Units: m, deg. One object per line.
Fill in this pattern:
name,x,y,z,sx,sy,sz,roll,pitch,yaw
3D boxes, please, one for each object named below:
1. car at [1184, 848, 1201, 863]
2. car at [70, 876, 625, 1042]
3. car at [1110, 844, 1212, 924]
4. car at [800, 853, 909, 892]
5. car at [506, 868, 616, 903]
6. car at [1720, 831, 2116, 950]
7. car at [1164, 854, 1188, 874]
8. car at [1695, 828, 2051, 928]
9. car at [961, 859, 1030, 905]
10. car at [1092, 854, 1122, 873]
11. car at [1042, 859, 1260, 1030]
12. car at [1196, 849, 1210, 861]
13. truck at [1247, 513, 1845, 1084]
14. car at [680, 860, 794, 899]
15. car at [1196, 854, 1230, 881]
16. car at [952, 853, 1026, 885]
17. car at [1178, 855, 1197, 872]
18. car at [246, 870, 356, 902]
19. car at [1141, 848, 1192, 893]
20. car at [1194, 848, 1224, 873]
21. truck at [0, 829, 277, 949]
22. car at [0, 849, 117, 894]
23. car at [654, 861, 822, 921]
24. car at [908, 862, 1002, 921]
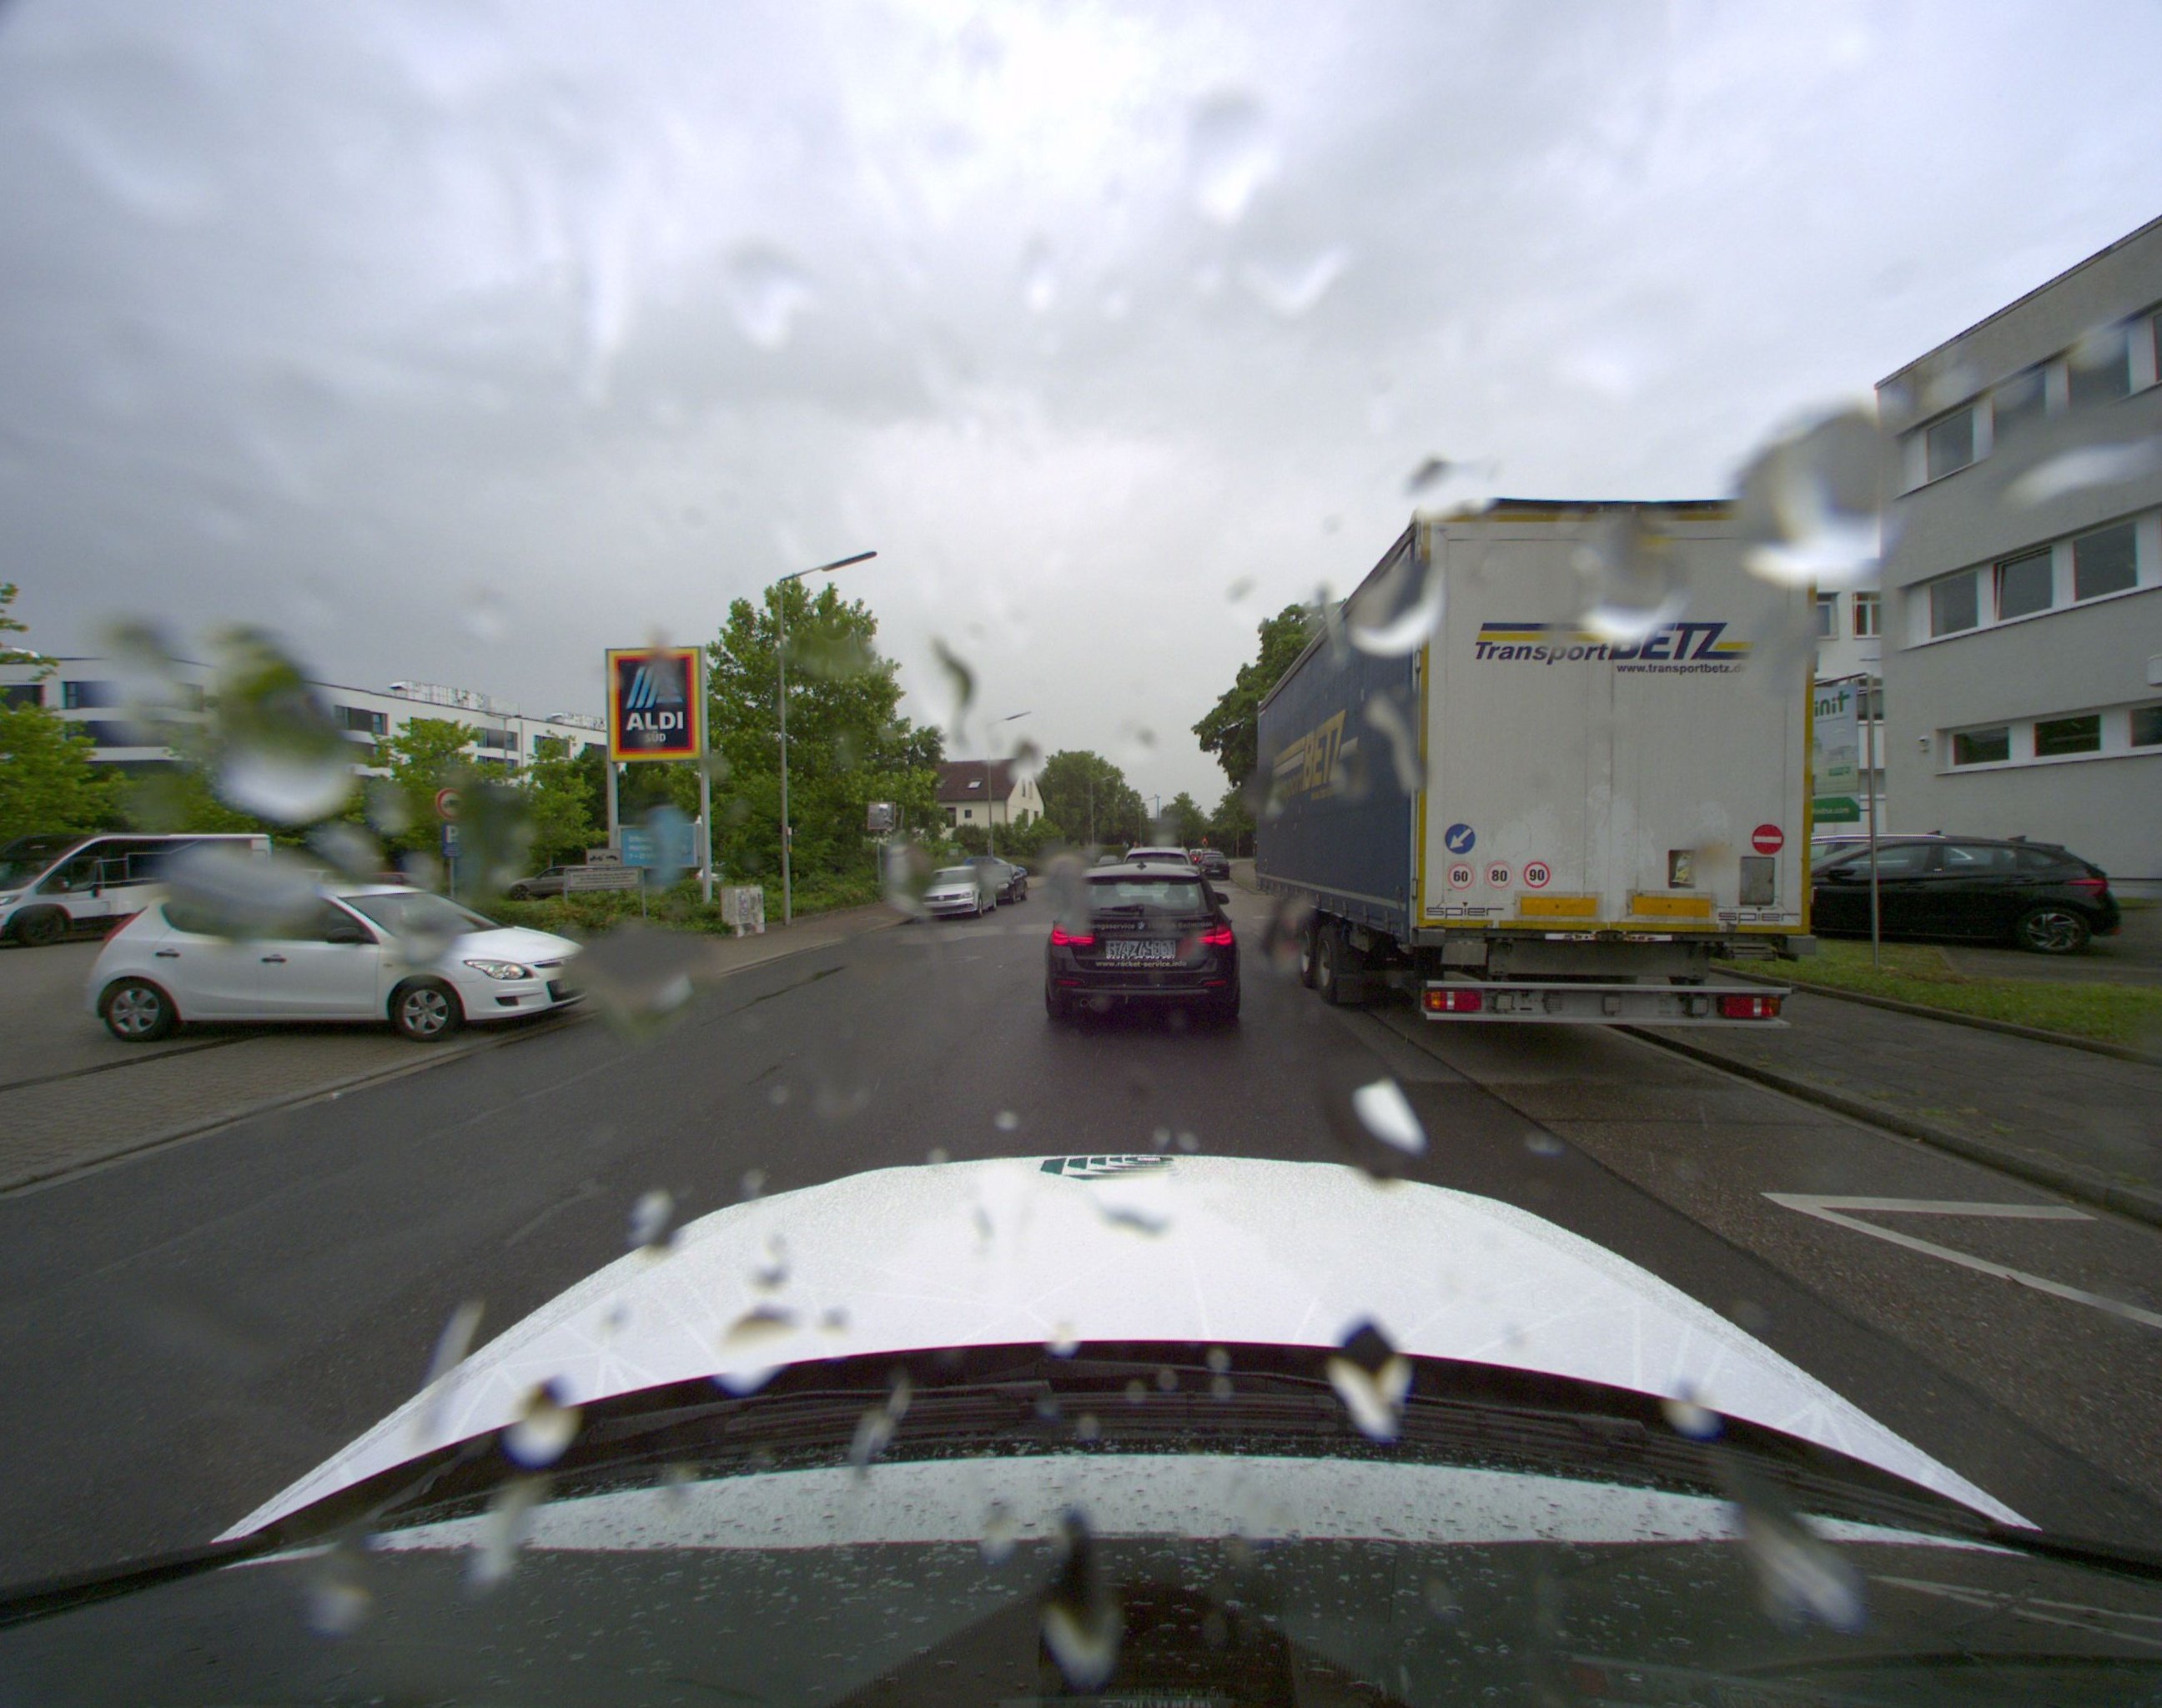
car,12.318,0.139,89.957,1.794,1.586,4.009,-1,0,8
car,-7.421,1.012,8.598,4.180,1.460,1.711,-1,0,-3
car,1.676,0.611,18.215,1.799,1.586,3.998,0,0,-1
car,-9.446,0.750,34.187,3.972,1.540,1.911,-1,0,1
car,-25.047,1.512,39.304,3.971,1.499,2.001,-1,0,2
car,11.637,0.399,11.729,3.733,1.396,1.738,2,2,40
car,7.680,0.794,65.427,1.794,1.586,4.009,-1,0,8
car,12.979,0.308,13.727,4.098,1.415,1.701,1,3,41
car,-2.973,0.949,29.004,1.698,1.367,3.842,-4,0,4
car,2.110,0.727,65.614,1.694,1.367,3.850,-4,0,11
car,0.542,0.759,8.742,1.799,1.395,3.998,0,0,-1
car,16.123,0.088,107.868,1.794,1.586,4.009,-1,0,8
truck,3.742,-0.375,9.094,2.728,3.611,7.759,1,0,4
car,-14.527,1.063,34.589,3.972,1.540,1.911,-1,0,1
car,7.927,0.798,49.197,1.795,1.586,4.007,-1,0,6
car,-5.335,0.873,47.358,3.801,1.594,1.716,-4,0,11
car,10.854,0.962,82.605,1.794,1.586,4.009,-1,0,8
car,-41.850,1.706,43.770,3.971,1.529,2.001,-1,0,2
car,3.248,0.611,30.853,1.795,1.586,4.007,-1,0,6
car,8.555,0.454,54.541,1.795,1.586,4.007,-1,0,6
truck,-24.897,0.790,20.973,1.987,2.657,6.396,-1,0,0
car,-48.643,0.811,38.225,1.986,2.014,4.001,-1,-1,1
car,-8.782,0.918,21.053,3.556,1.460,1.713,0,0,2
car,-3.471,0.987,23.265,1.699,1.367,4.604,-4,0,3
